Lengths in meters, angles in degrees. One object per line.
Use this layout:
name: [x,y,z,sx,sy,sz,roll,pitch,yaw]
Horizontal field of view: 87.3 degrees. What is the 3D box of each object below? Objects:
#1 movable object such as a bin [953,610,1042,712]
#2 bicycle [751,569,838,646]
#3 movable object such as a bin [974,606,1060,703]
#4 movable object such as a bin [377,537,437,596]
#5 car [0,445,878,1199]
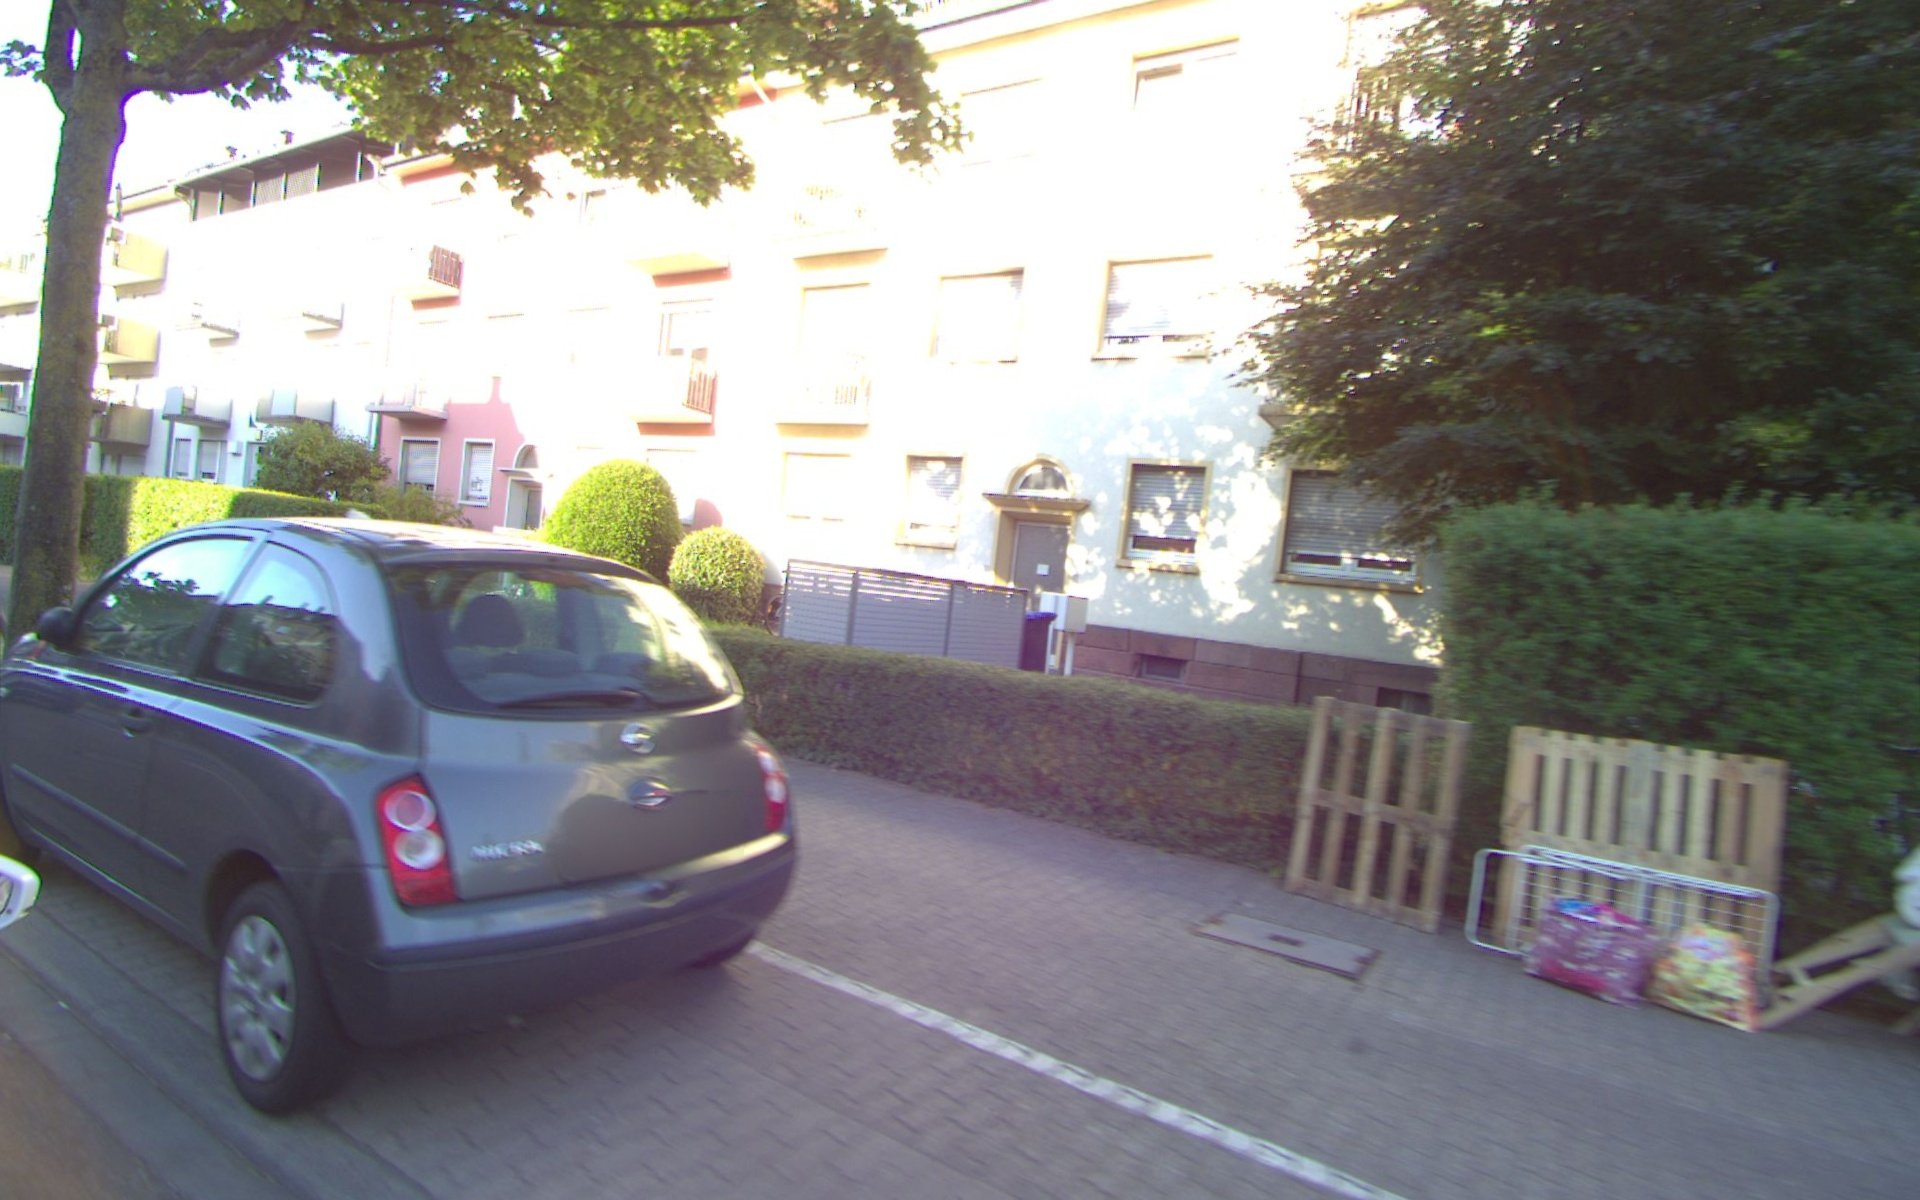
movable object such as a bin: [0.467,0.754,12.478,0.815,1.137,0.553,7,1,33]
bicycle: [-2.576,0.143,15.834,0.418,1.069,1.524,7,0,27]
movable object such as a bin: [0.739,0.699,12.985,0.815,1.137,0.553,7,1,33]
movable object such as a bin: [-10.552,-0.635,19.198,0.783,1.015,0.611,7,1,32]
car: [-2.333,0.385,3.813,3.586,1.570,1.734,7,0,33]
